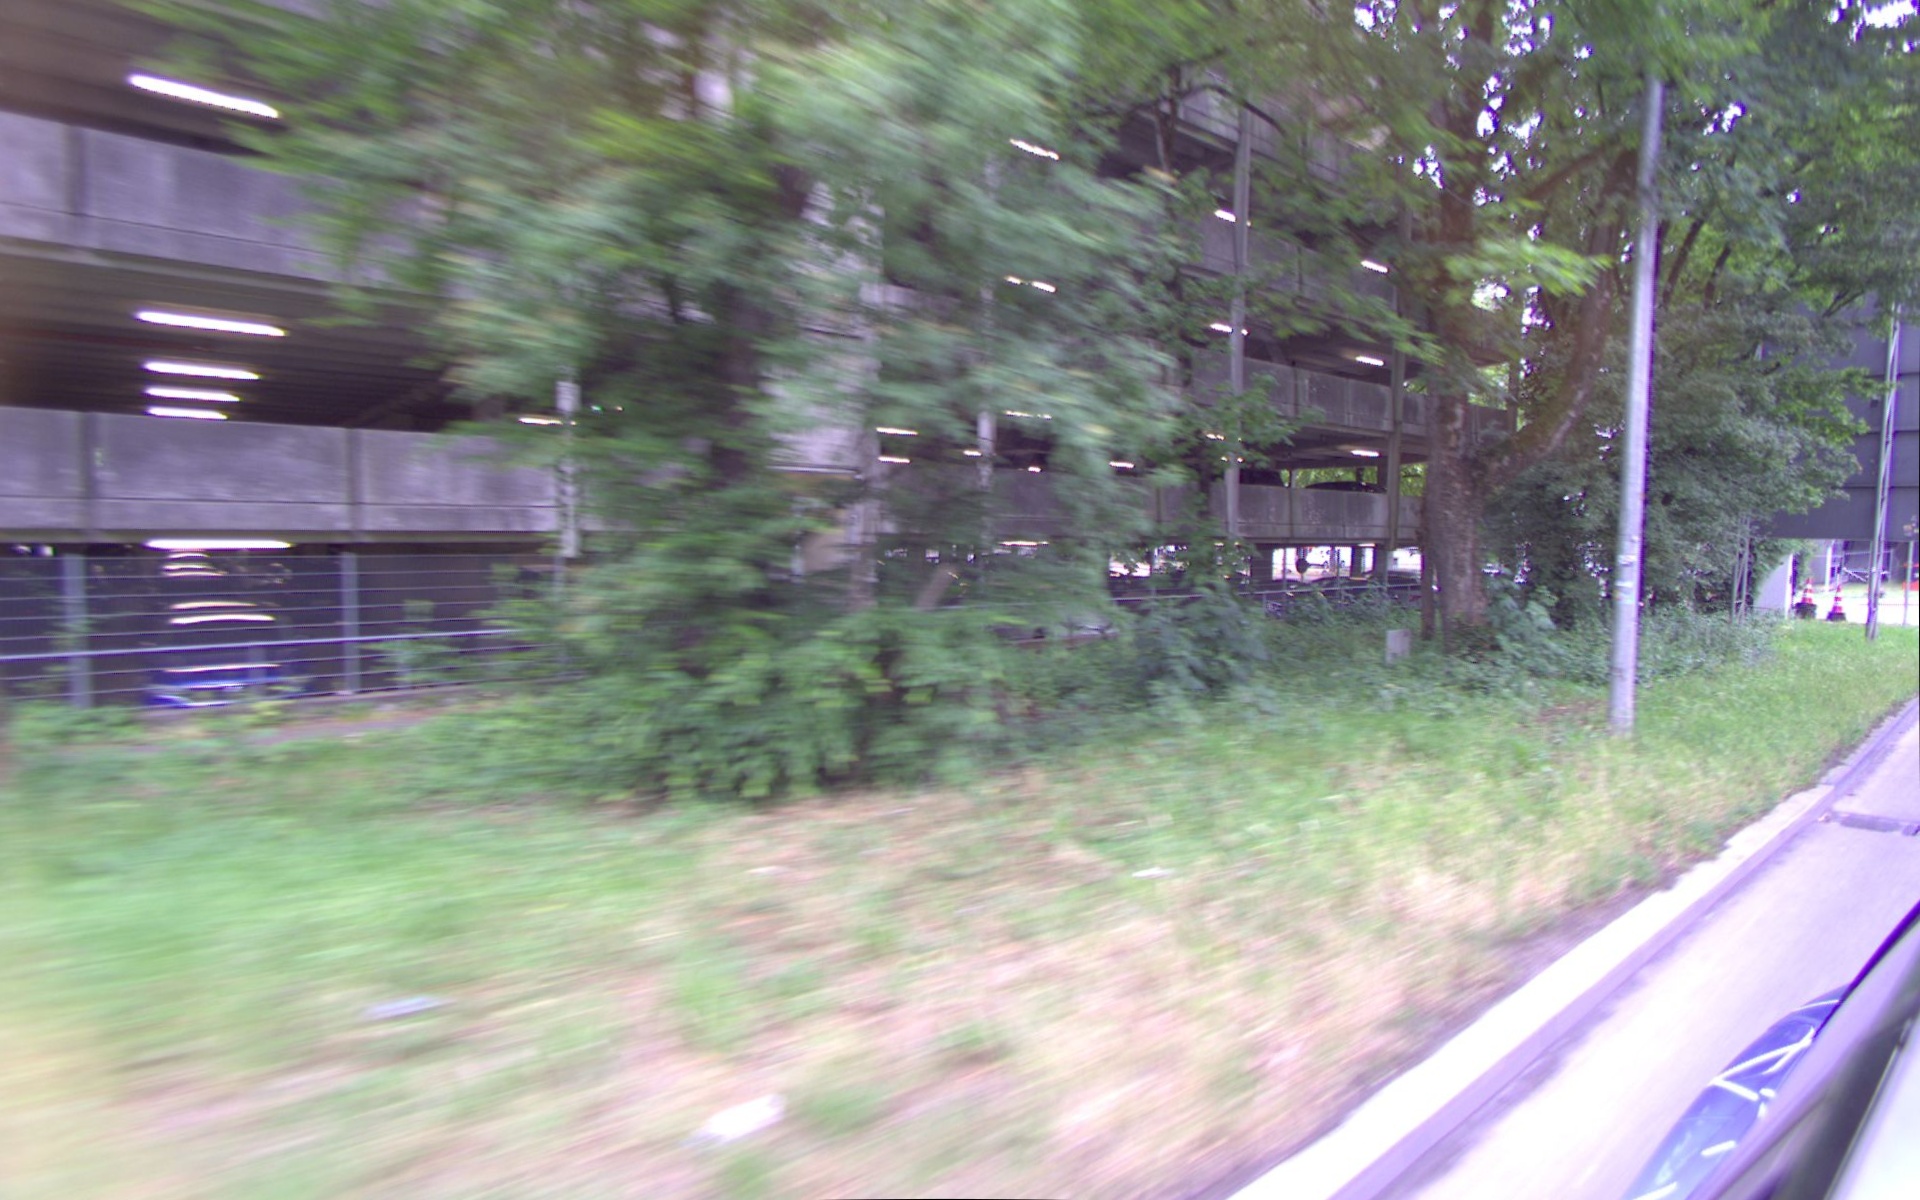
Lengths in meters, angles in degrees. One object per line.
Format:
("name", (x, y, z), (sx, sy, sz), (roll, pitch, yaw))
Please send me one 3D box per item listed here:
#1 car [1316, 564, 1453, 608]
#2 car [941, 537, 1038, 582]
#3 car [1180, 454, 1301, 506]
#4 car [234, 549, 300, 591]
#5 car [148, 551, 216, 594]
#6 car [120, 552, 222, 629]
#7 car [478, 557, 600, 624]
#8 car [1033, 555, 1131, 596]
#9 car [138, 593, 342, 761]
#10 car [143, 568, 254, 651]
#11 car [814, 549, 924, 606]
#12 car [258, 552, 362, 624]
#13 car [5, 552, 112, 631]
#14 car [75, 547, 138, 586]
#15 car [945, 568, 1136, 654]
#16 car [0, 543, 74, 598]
("car", (13.231, -0.491, 31.691), (1.593, 1.176, 3.640), (-2, 4, -37))
("car", (1.218, -1.770, 42.938), (1.966, 1.748, 3.997), (-4, 6, -40))
("car", (7.453, -3.171, 27.097), (1.332, 1.261, 2.895), (-4, 6, -39))
("car", (-24.609, -1.114, 35.895), (1.690, 1.317, 3.720), (-2, 5, -38))
("car", (-26.089, -0.959, 33.948), (1.690, 1.284, 3.685), (-2, 5, -38))
("car", (-19.626, -0.312, 25.119), (1.758, 1.562, 3.700), (-4, 7, -41))
("car", (-11.036, -0.325, 26.378), (1.794, 1.469, 4.069), (-2, 5, -40))
("car", (4.639, -0.988, 38.901), (1.496, 1.380, 3.774), (-2, 5, -39))
("car", (-9.552, 0.839, 13.309), (1.831, 1.551, 3.997), (-2, 5, -40))
("car", (-16.194, 0.126, 21.454), (1.644, 1.366, 3.672), (-3, 6, -40))
("car", (-2.938, -0.769, 32.092), (1.681, 1.543, 3.725), (-4, 6, -39))
("car", (-17.112, -0.391, 26.575), (1.758, 1.562, 3.700), (-4, 7, -41))
("car", (-21.870, -0.279, 24.631), (1.758, 1.562, 3.700), (-4, 7, -41))
("car", (-31.229, -1.269, 37.100), (1.667, 1.284, 3.523), (-2, 5, -39))
("car", (1.689, 0.150, 22.716), (1.681, 1.472, 4.455), (-4, 6, -39))
("car", (-29.198, -0.991, 31.976), (1.667, 1.589, 3.523), (-2, 5, -39))
